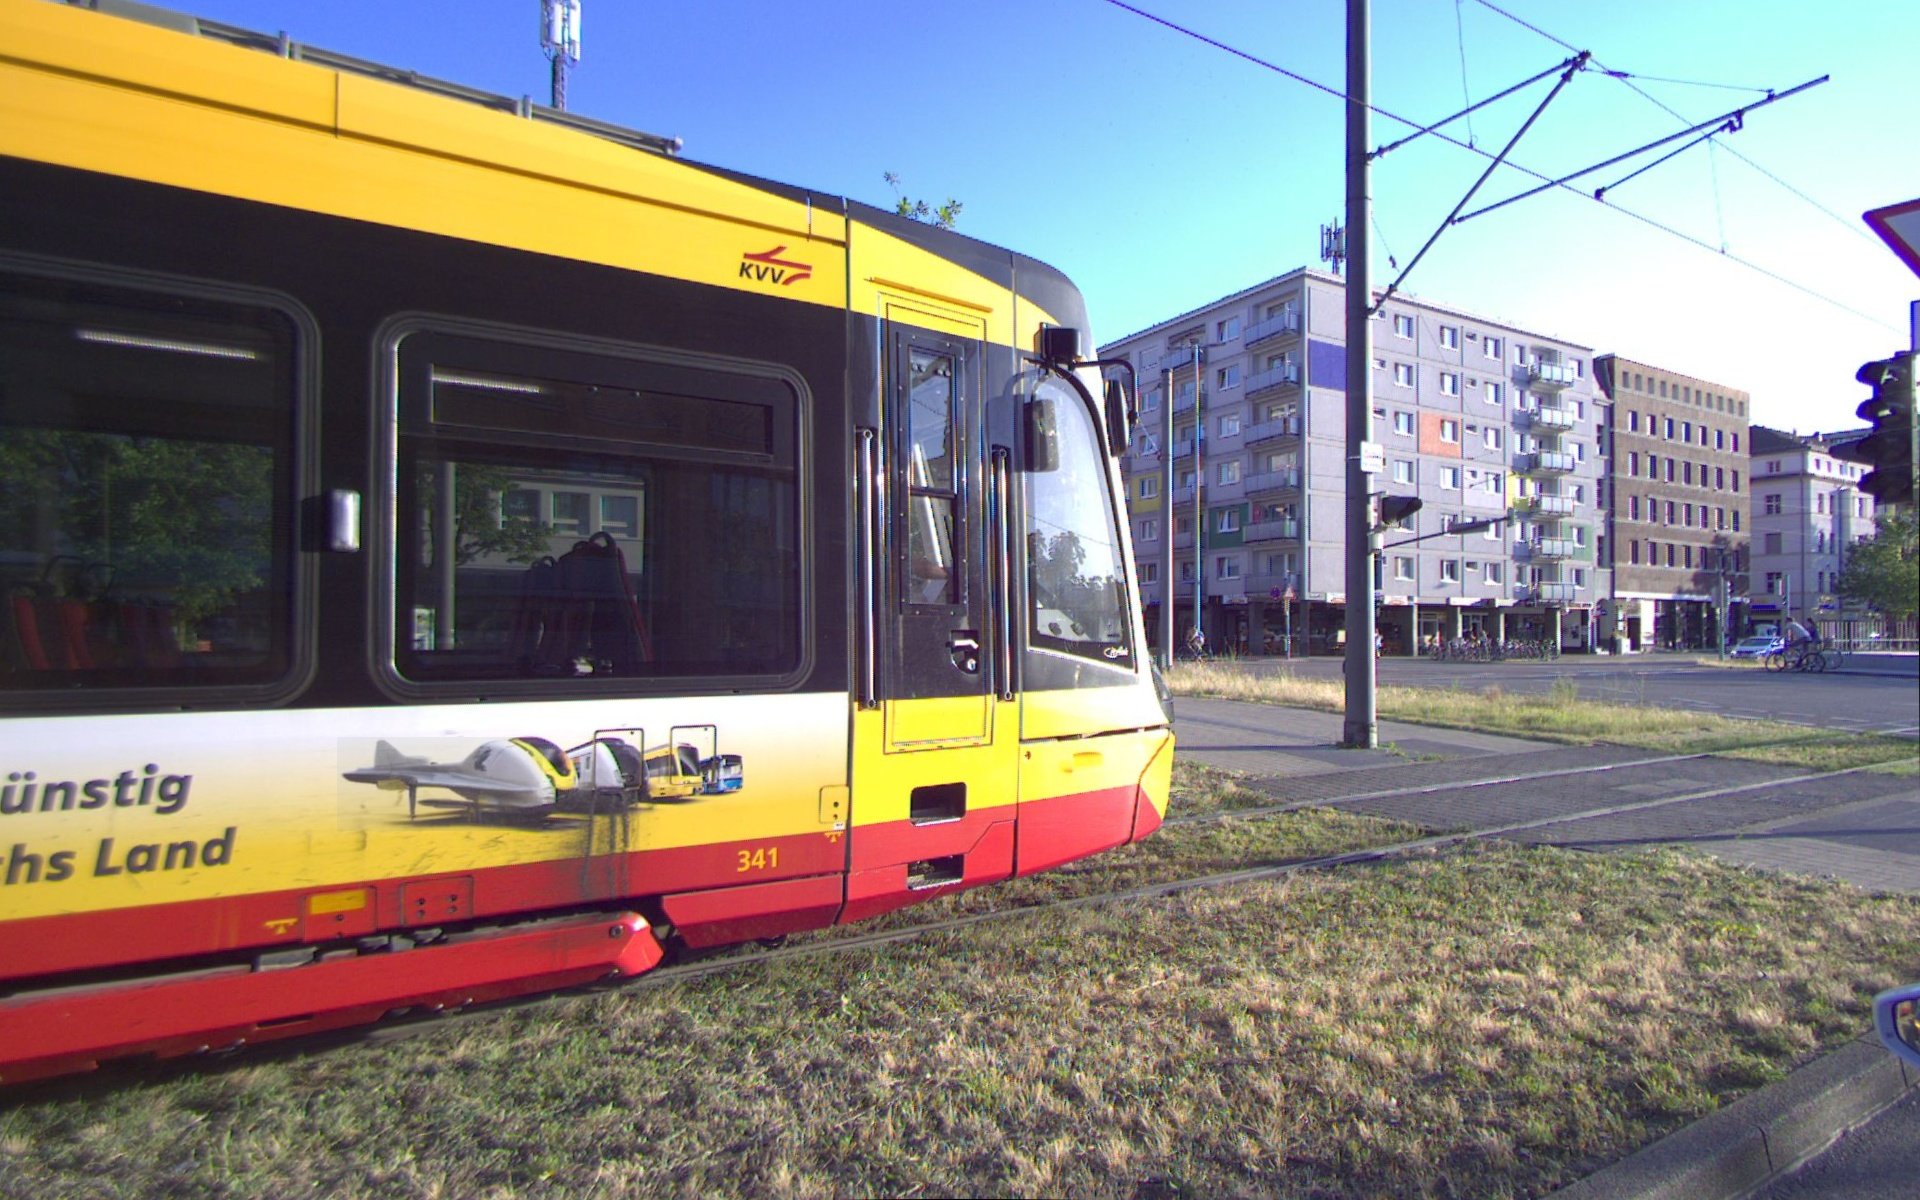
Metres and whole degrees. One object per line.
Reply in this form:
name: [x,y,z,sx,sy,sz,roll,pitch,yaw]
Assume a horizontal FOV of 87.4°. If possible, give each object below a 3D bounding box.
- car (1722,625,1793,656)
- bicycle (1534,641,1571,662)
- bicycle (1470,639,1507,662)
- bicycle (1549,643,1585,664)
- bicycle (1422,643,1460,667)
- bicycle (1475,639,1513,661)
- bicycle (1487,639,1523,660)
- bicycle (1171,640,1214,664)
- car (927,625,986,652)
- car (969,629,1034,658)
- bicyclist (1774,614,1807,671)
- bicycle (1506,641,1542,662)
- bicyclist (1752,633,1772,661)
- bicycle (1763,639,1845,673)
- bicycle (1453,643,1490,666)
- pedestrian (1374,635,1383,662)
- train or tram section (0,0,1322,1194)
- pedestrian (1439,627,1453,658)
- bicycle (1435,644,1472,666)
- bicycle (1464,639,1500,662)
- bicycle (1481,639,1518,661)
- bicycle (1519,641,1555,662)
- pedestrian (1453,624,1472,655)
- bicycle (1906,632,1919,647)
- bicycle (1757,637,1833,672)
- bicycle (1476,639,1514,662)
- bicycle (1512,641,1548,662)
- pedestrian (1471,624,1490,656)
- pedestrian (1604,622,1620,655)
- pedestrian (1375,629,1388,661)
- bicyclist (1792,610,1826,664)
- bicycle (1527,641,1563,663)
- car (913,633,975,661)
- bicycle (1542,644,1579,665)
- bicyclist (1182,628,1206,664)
car: [44.133,2.252,55.562,3.951,1.639,1.682,1,-3,-29]
bicycle: [33.896,2.931,57.451,0.739,1.194,1.684,1,-1,-28]
bicycle: [28.723,2.733,54.593,0.561,1.197,1.761,1,-1,-29]
bicycle: [35.185,3.107,58.195,0.688,1.159,1.684,1,-1,-27]
bicycle: [25.825,2.924,53.957,0.631,1.224,1.786,1,-2,-30]
bicycle: [29.666,2.788,55.807,0.632,1.176,1.823,1,-2,-29]
bicycle: [30.680,2.766,56.532,0.598,1.151,1.763,1,-1,-29]
bicycle: [9.545,2.118,41.215,1.636,0.957,0.509,0,-1,-5]
car: [-0.232,2.267,59.403,1.974,1.505,3.974,1,-2,-26]
car: [2.255,2.383,55.530,1.974,1.505,3.974,1,-2,-26]
bicyclist: [27.697,1.409,33.487,0.785,1.842,0.642,-1,-2,45]
bicycle: [31.552,2.860,56.249,0.545,1.132,1.747,1,-1,-29]
bicyclist: [50.978,2.997,63.874,0.779,1.765,0.701,1,-1,-18]
bicycle: [29.266,1.928,34.848,2.141,1.098,0.535,-1,-1,44]
bicycle: [27.608,2.935,54.200,0.592,1.154,1.749,1,-1,-29]
pedestrian: [21.704,2.528,52.088,0.376,1.401,0.394,0,-1,32]
train or tram section: [-4.464,-0.362,3.134,13.063,3.788,2.895,1,-1,-30]
pedestrian: [26.912,2.366,55.626,0.573,1.706,0.544,-1,-2,42]
bicycle: [26.729,2.970,54.435,0.601,1.157,1.768,1,-2,-29]
bicycle: [28.208,2.740,54.290,0.534,1.183,1.758,1,-1,-29]
bicycle: [30.171,2.809,56.216,0.598,1.174,1.768,1,-2,-29]
bicycle: [32.620,2.910,56.818,0.626,1.139,1.720,2,-2,-28]
pedestrian: [30.489,2.400,60.967,0.715,1.837,0.819,1,0,-40]
bicycle: [77.276,3.178,80.971,2.382,1.217,0.809,1,-2,-28]
bicycle: [27.765,1.801,33.412,0.628,1.089,1.882,1,-2,-45]
bicycle: [29.267,2.736,54.927,0.644,1.206,1.780,1,-2,-30]
bicycle: [32.059,2.879,56.529,0.561,1.134,1.753,1,-1,-29]
pedestrian: [31.108,2.386,60.012,0.728,1.866,0.780,1,-2,-38]
pedestrian: [43.852,2.572,67.527,0.783,2.207,0.599,1,-1,-30]
pedestrian: [21.612,2.298,51.504,0.563,1.641,0.602,0,-1,29]
bicyclist: [29.367,1.289,34.760,0.867,1.842,0.535,-1,-2,44]
bicycle: [33.234,2.937,57.096,0.696,1.168,1.684,1,-1,-27]
car: [-0.920,2.589,56.000,1.974,1.505,3.974,1,-2,-26]
bicycle: [34.566,3.135,57.816,0.739,1.185,1.684,1,-1,-28]
bicyclist: [9.614,1.882,41.223,0.841,1.445,0.500,0,-1,-6]
